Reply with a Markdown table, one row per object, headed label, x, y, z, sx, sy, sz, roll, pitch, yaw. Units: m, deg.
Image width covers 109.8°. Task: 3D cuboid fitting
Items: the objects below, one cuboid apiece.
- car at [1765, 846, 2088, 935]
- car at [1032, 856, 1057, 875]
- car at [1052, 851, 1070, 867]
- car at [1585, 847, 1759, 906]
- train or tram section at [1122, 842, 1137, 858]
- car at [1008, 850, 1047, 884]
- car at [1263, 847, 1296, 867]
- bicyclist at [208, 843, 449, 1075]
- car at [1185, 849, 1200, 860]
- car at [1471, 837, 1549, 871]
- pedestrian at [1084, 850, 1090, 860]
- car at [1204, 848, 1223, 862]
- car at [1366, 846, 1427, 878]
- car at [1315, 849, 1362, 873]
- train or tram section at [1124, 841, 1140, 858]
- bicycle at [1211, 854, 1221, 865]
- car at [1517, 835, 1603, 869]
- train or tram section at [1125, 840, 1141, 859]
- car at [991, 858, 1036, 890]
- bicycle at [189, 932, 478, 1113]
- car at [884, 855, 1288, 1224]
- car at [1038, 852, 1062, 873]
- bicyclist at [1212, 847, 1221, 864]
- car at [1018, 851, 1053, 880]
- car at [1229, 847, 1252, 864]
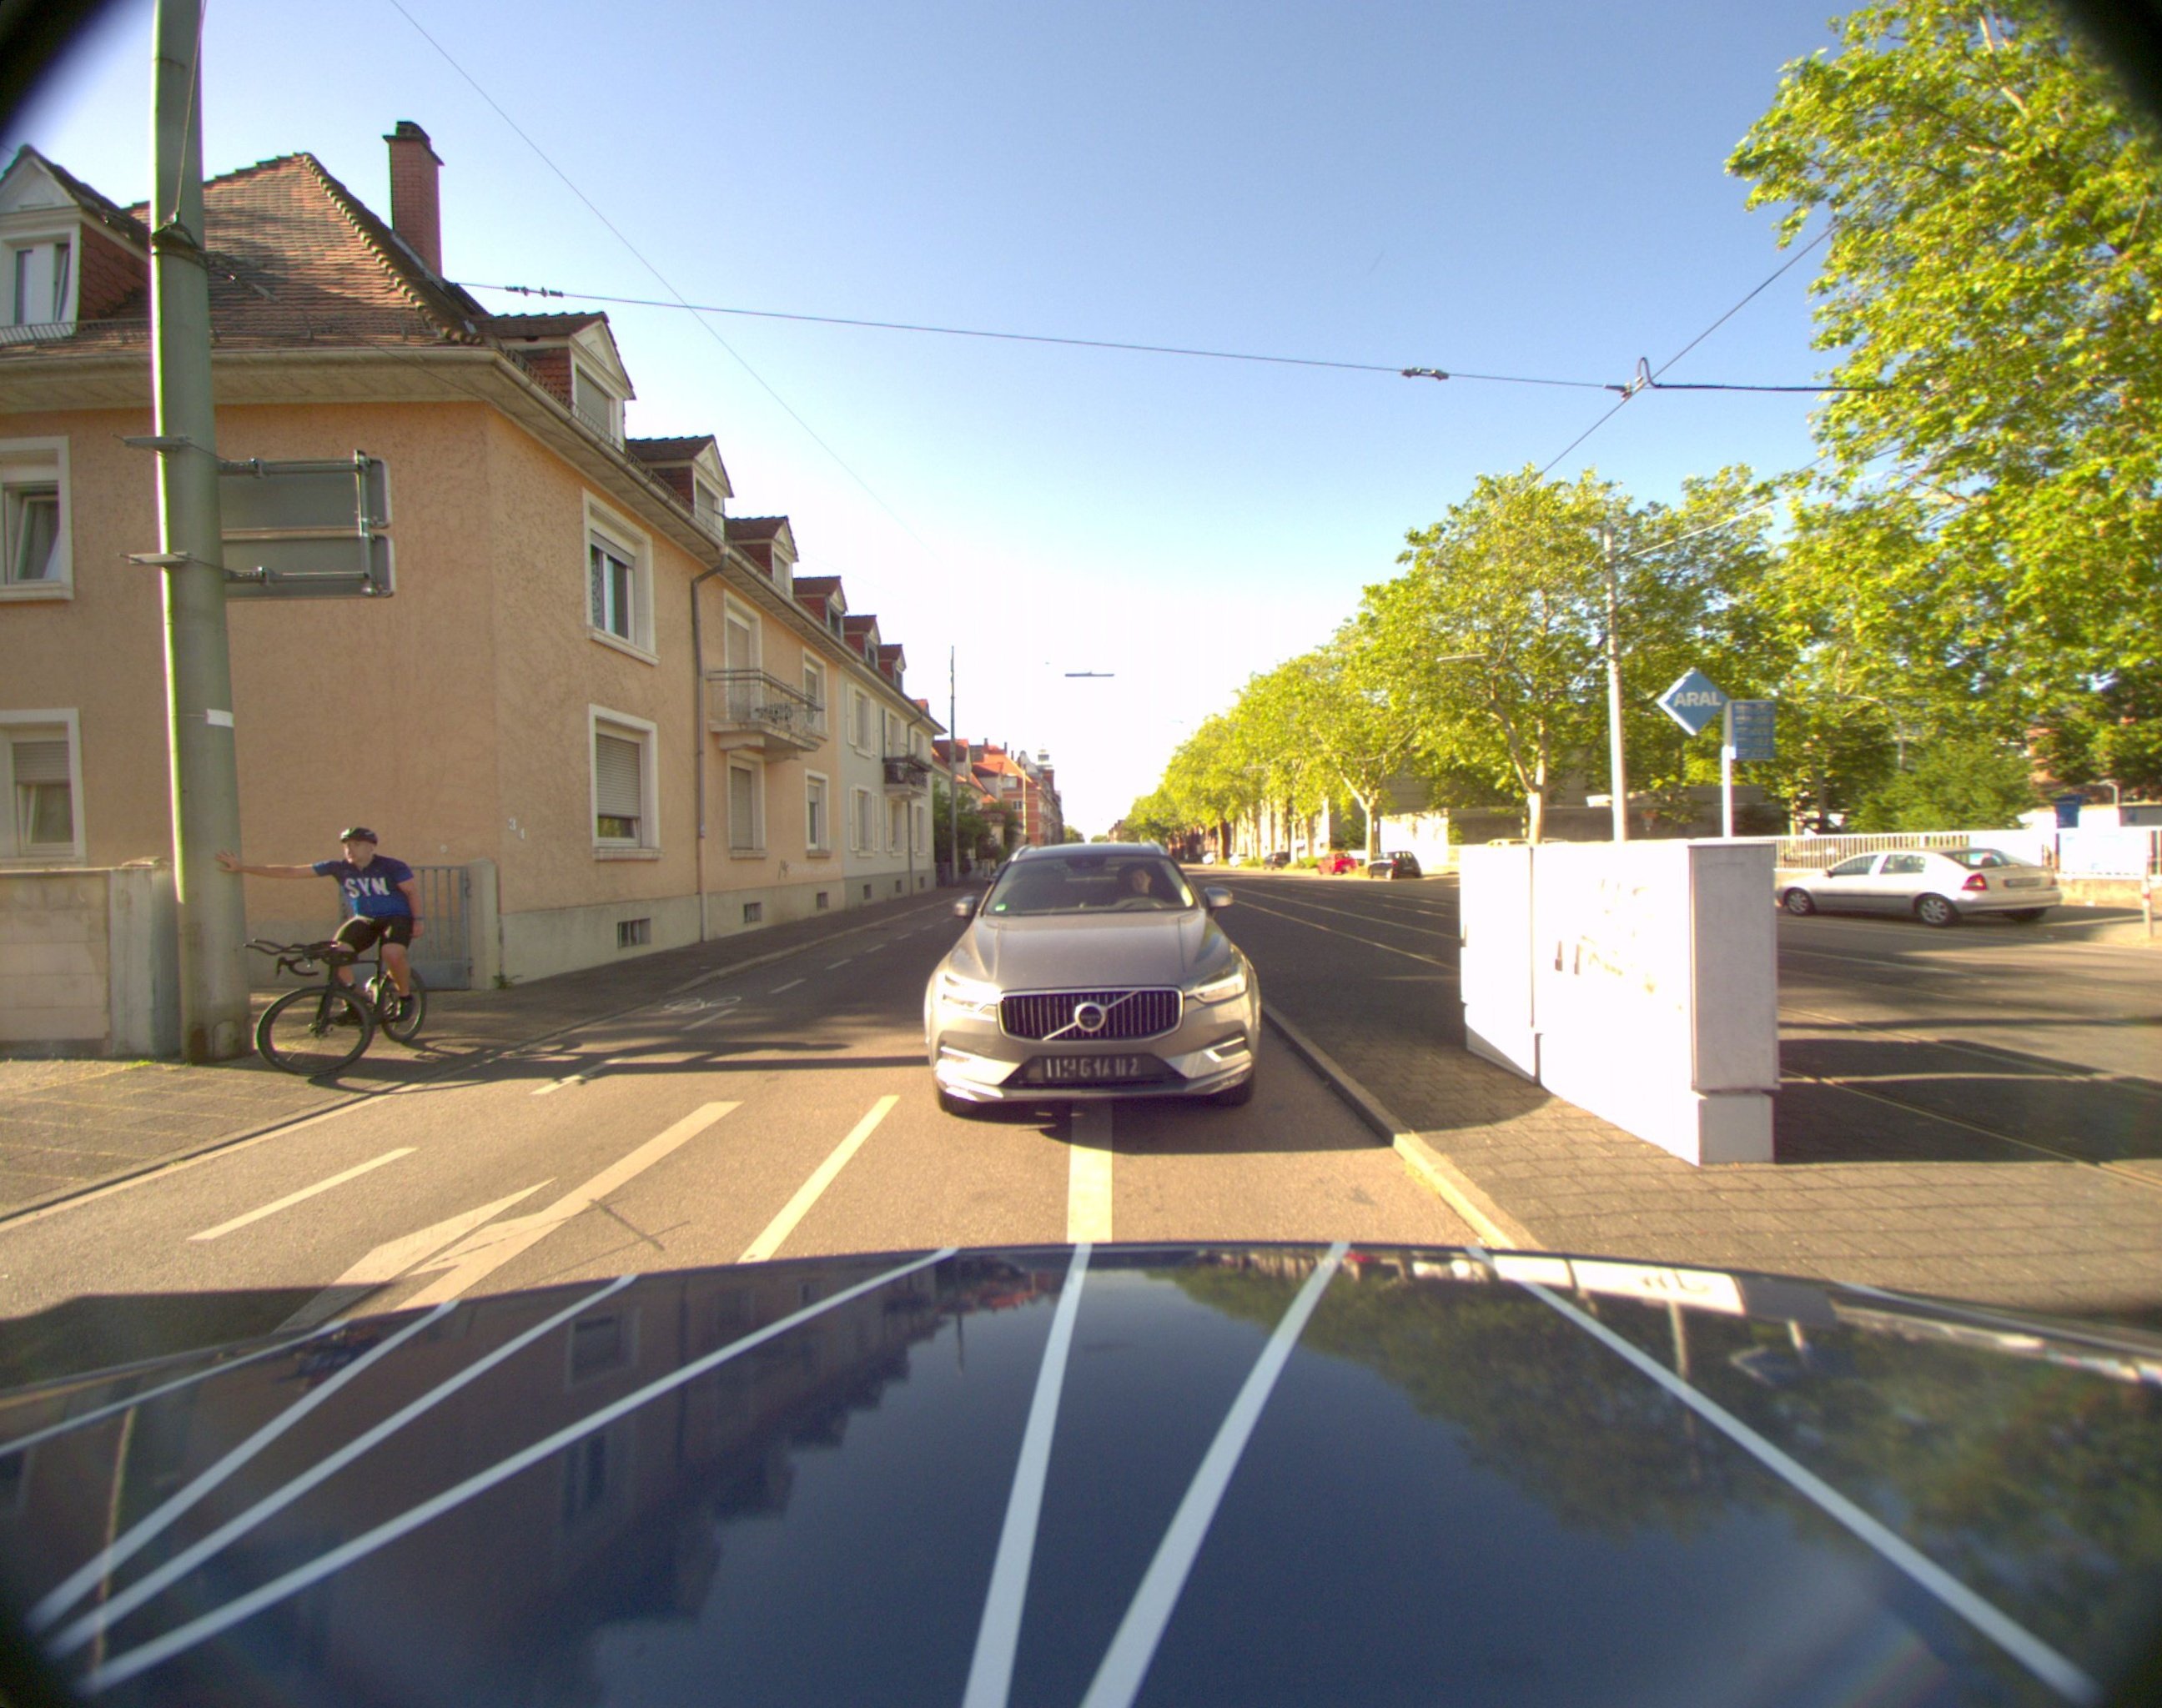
| label | x | y | z | sx | sy | sz | roll | pitch | yaw |
| --- | --- | --- | --- | --- | --- | --- | --- | --- | --- |
| car | 16.239 | 0.615 | 14.969 | 1.846 | 1.400 | 3.999 | -4 | 0 | -1 |
| car | -2.875 | 0.859 | 60.398 | 1.808 | 1.402 | 3.999 | -1 | 0 | -1 |
| car | -2.239 | 0.550 | 85.476 | 1.999 | 1.641 | 4.658 | -1 | 0 | -1 |
| car | 16.521 | 0.566 | 21.542 | 1.845 | 1.400 | 4.138 | -4 | 0 | 4 |
| train or tram section | 10.802 | -0.908 | 169.548 | 2.843 | 3.456 | 10.182 | -2 | 1 | 1 |
| car | -2.920 | 0.683 | 42.309 | 1.847 | 1.742 | 4.144 | -1 | 0 | 0 |
| car | 17.173 | 0.223 | 65.888 | 1.845 | 1.607 | 4.098 | -4 | 0 | 3 |
| bicyclist | -6.168 | 0.808 | 6.293 | 1.071 | 1.728 | 0.853 | 4 | 1 | 1 |
| car | 18.373 | -0.007 | 125.402 | 1.845 | 1.664 | 4.098 | -4 | 0 | 3 |
| car | 21.753 | -0.029 | 38.707 | 1.845 | 1.524 | 4.001 | -4 | 0 | 4 |
| pedestrian | 1.198 | 0.134 | 155.435 | 1.104 | 2.002 | 1.242 | -2 | 1 | 1 |
| car | 17.599 | 0.076 | 100.899 | 1.845 | 1.664 | 4.098 | -4 | 0 | 3 |
| car | 16.971 | 0.407 | 41.079 | 1.845 | 1.524 | 4.001 | -4 | 0 | 4 |
| car | 16.966 | 0.444 | 50.303 | 1.845 | 1.400 | 4.001 | -4 | 0 | 3 |
| train or tram section | 10.606 | -0.946 | 159.306 | 2.843 | 3.456 | 10.183 | -2 | 1 | 2 |
| bicycle | 15.119 | 0.619 | 84.999 | 0.654 | 1.114 | 2.533 | -1 | 0 | 1 |
| car | 24.047 | -0.112 | 38.329 | 1.845 | 1.524 | 4.000 | -4 | 0 | 2 |
| train or tram section | 10.165 | -0.854 | 149.181 | 2.861 | 3.456 | 10.185 | -1 | 0 | 3 |
| car | -3.225 | 0.944 | 36.969 | 1.847 | 1.412 | 3.999 | -1 | 0 | -1 |
| bicycle | -5.924 | 1.273 | 6.187 | 0.594 | 1.045 | 1.719 | 4 | 1 | 1 |
| car | 0.005 | 0.886 | 5.780 | 1.892 | 1.695 | 4.318 | -1 | 0 | -1 |
| car | -2.671 | 0.693 | 65.762 | 1.847 | 1.681 | 4.000 | -1 | 0 | 0 |
| bicyclist | 15.135 | 0.148 | 84.994 | 0.720 | 1.853 | 1.071 | -1 | 1 | 0 |
| car | -2.760 | 0.656 | 46.733 | 1.847 | 1.681 | 4.000 | -1 | 0 | 0 |
| car | 17.494 | 0.117 | 83.536 | 1.845 | 1.664 | 4.098 | -4 | 0 | 3 |
